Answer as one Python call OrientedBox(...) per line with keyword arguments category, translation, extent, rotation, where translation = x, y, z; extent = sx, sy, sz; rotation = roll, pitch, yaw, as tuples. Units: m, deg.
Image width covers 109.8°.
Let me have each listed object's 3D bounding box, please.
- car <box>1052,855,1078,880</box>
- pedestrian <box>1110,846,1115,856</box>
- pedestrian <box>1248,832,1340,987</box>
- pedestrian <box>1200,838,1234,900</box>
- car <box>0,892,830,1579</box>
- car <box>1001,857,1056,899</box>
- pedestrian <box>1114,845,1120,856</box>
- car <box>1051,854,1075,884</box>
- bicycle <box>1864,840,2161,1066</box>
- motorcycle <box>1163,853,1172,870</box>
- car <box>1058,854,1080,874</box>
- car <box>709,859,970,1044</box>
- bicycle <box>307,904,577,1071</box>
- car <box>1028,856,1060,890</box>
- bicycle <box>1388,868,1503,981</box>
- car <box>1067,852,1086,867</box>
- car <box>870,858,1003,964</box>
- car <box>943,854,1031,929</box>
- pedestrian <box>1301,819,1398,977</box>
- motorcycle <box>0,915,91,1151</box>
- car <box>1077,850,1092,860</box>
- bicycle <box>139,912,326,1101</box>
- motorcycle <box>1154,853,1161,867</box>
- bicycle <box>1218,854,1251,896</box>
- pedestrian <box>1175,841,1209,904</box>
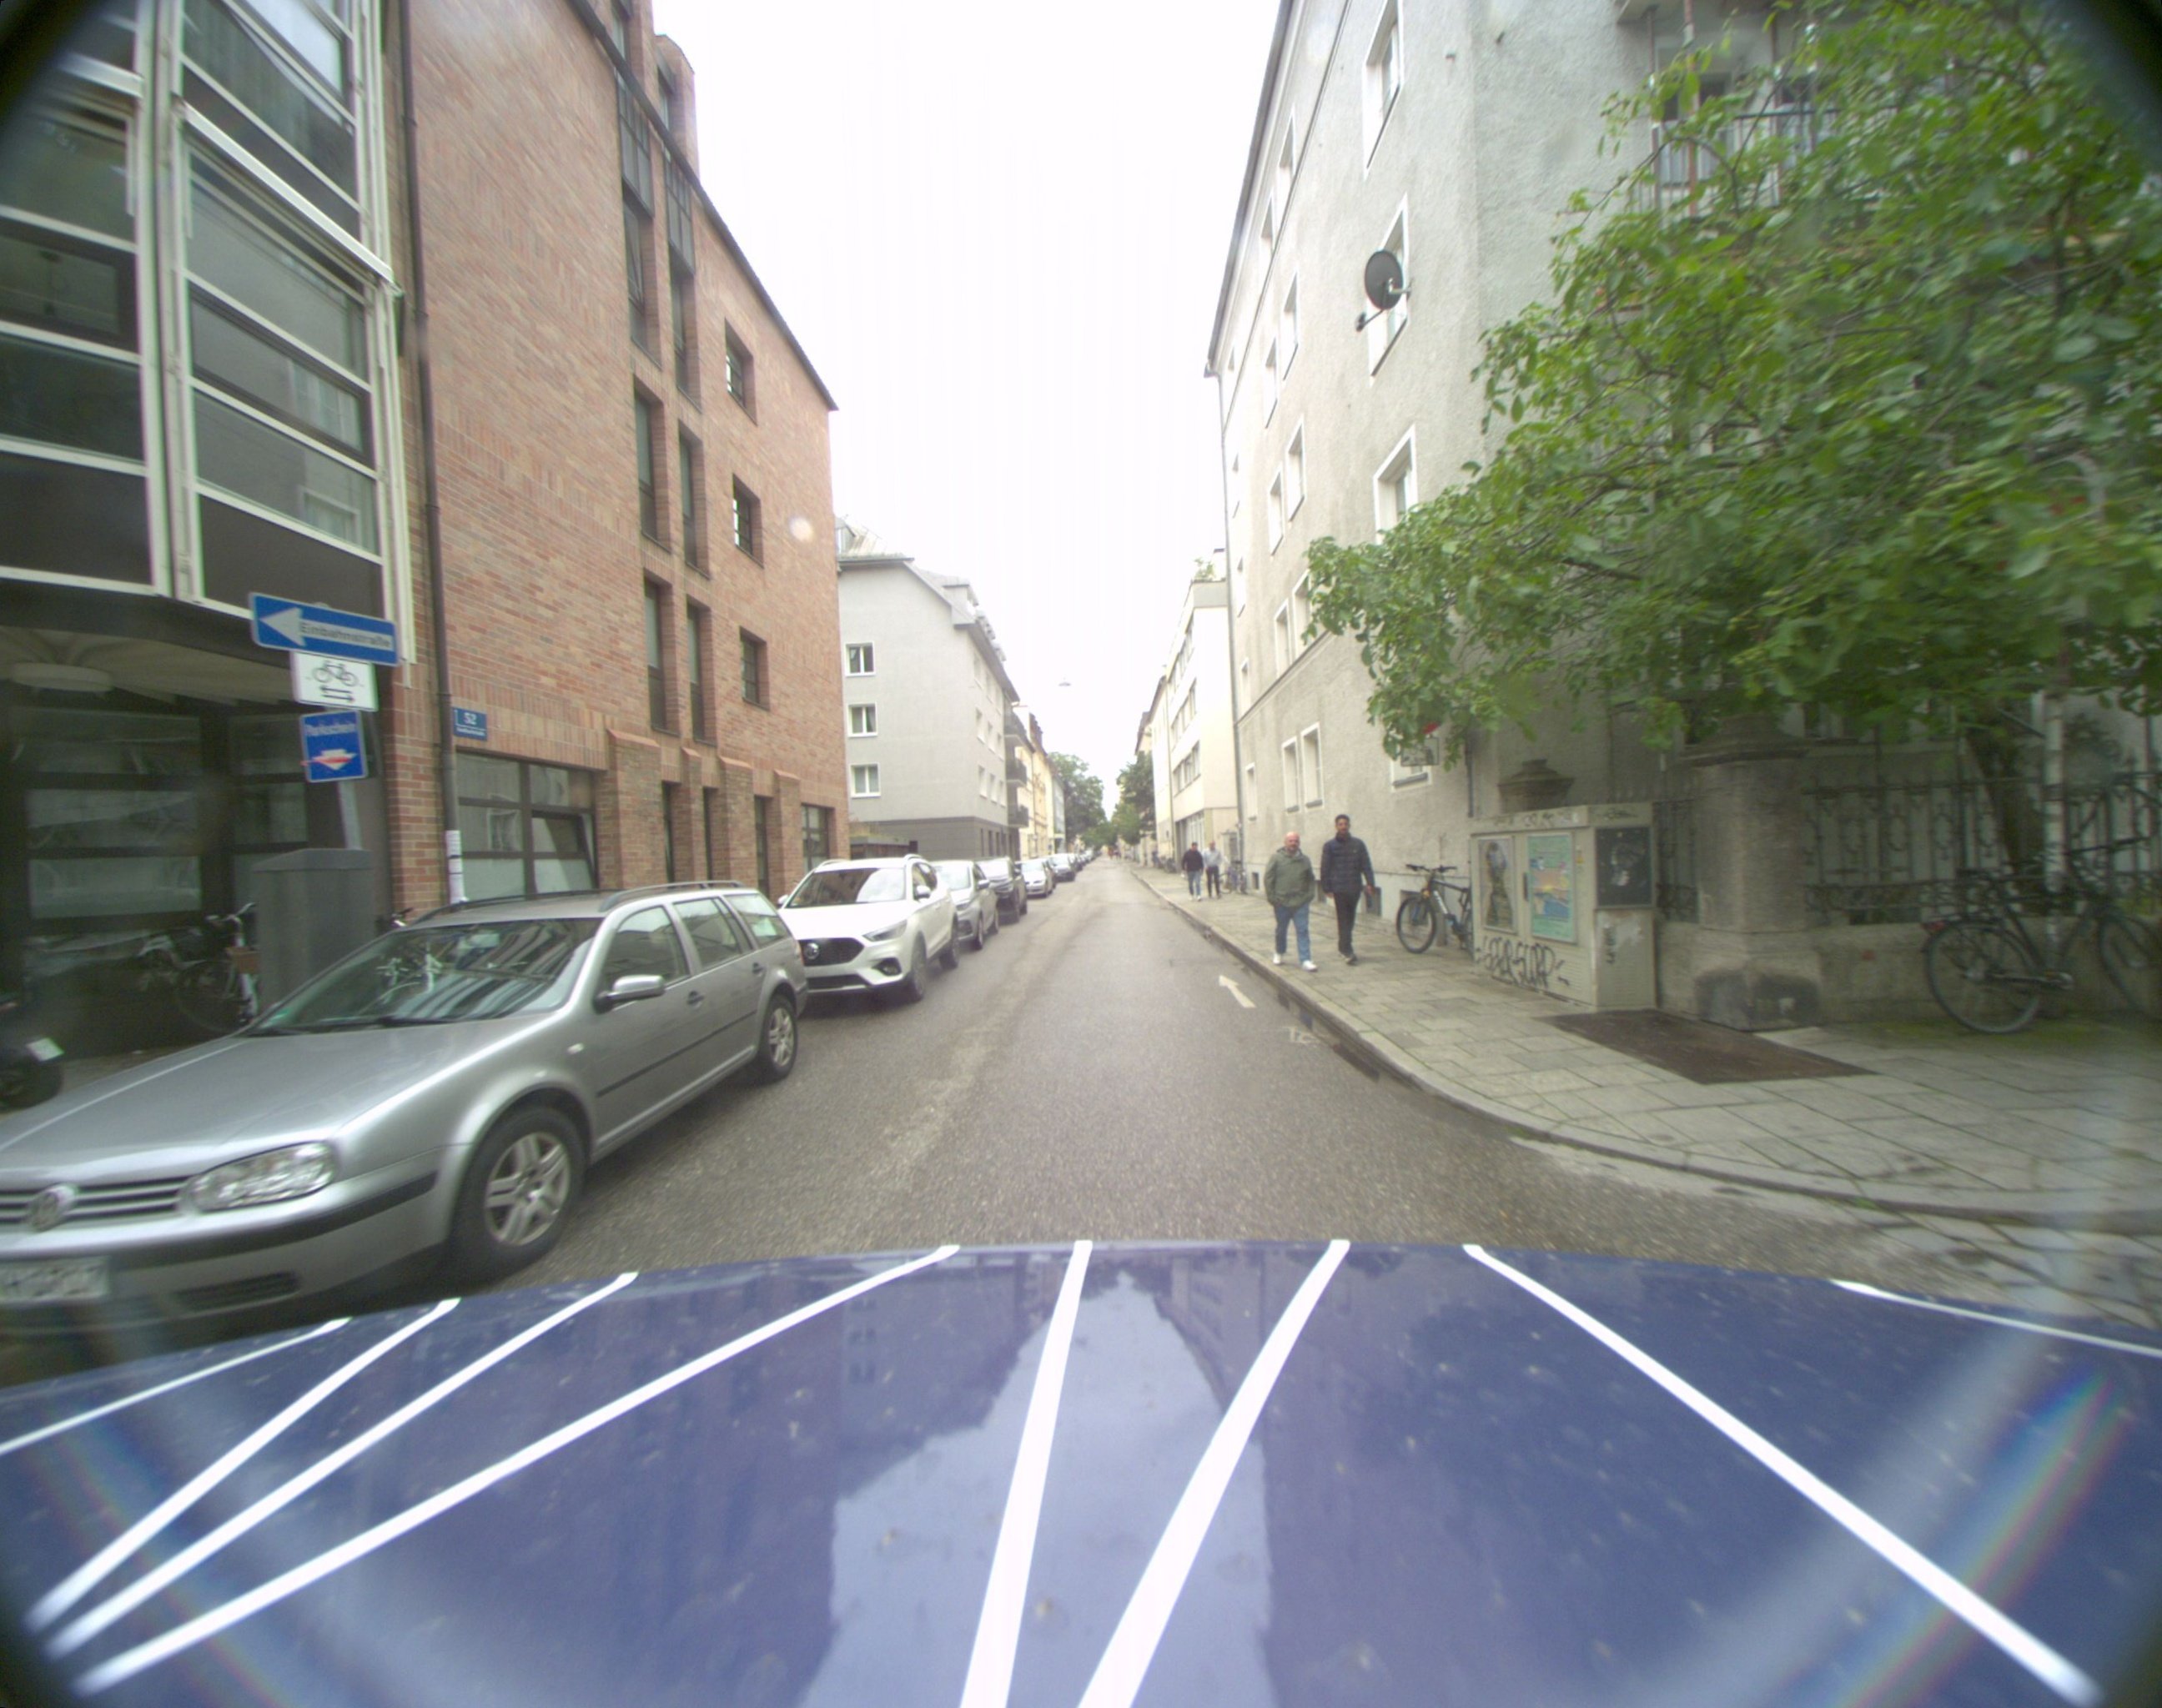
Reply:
OrientedBox(category="car", translation=(-0.894, 0.752, 43.525), extent=(1.190, 1.312, 2.780), rotation=(-4, 1, 2))
OrientedBox(category="pedestrian", translation=(5.855, -0.486, 140.758), extent=(0.696, 1.834, 0.692), rotation=(-3, 1, 20))
OrientedBox(category="pedestrian", translation=(2.449, 0.611, 8.830), extent=(0.691, 1.668, 0.859), rotation=(-5, 1, 0))
OrientedBox(category="pedestrian", translation=(3.948, 0.433, 22.123), extent=(0.695, 1.718, 0.841), rotation=(-7, 1, 2))
OrientedBox(category="car", translation=(-2.986, 1.093, 4.059), extent=(1.725, 1.427, 4.358), rotation=(-4, 0, 0))
OrientedBox(category="car", translation=(-1.935, 0.868, 29.187), extent=(1.619, 1.369, 3.817), rotation=(-4, 1, 2))
OrientedBox(category="pedestrian", translation=(6.697, -0.612, 141.473), extent=(0.861, 2.002, 0.787), rotation=(-3, 1, 16))
OrientedBox(category="car", translation=(-0.908, 0.739, 39.636), extent=(1.043, 1.429, 2.251), rotation=(-4, 1, 2))
OrientedBox(category="bicycle", translation=(5.947, 0.578, 4.654), extent=(1.811, 1.254, 0.432), rotation=(-3, 1, 1))
OrientedBox(category="motorcycle", translation=(5.262, 0.452, 46.313), extent=(0.324, 0.968, 1.961), rotation=(-4, 1, 2))
OrientedBox(category="car", translation=(-0.837, 0.720, 54.328), extent=(1.351, 1.259, 3.037), rotation=(-4, 1, 2))
OrientedBox(category="car", translation=(-2.649, 0.959, 9.547), extent=(1.725, 1.606, 4.454), rotation=(-4, 1, 0))
OrientedBox(category="bicycle", translation=(-5.887, 1.161, 7.163), extent=(0.741, 1.210, 1.782), rotation=(-2, 1, 16))
OrientedBox(category="car", translation=(-1.658, 0.836, 34.486), extent=(1.154, 1.367, 2.685), rotation=(-4, 1, 2))
OrientedBox(category="bicycle", translation=(4.078, 0.743, 8.639), extent=(0.432, 1.089, 1.703), rotation=(-4, 1, 0))
OrientedBox(category="car", translation=(-0.406, 0.475, 68.585), extent=(1.525, 1.259, 3.210), rotation=(-4, 1, 2))
OrientedBox(category="car", translation=(-2.500, 0.922, 14.047), extent=(1.619, 1.549, 3.807), rotation=(-4, 1, 0))
OrientedBox(category="car", translation=(-2.266, 0.862, 19.317), extent=(1.619, 1.570, 4.051), rotation=(-4, 1, 0))
OrientedBox(category="pedestrian", translation=(3.192, 0.502, 9.082), extent=(0.692, 1.753, 0.741), rotation=(-5, 1, -8))
OrientedBox(category="motorcycle", translation=(-7.362, 1.102, 4.640), extent=(1.765, 1.376, 0.552), rotation=(-1, 1, -3))
OrientedBox(category="car", translation=(0.503, 0.156, 107.762), extent=(1.998, 1.259, 4.000), rotation=(-4, 0, 2))
OrientedBox(category="bicycle", translation=(-6.755, 1.118, 6.023), extent=(1.872, 1.222, 0.594), rotation=(-1, 2, 31))
OrientedBox(category="motorcycle", translation=(5.612, 0.423, 55.904), extent=(0.324, 0.968, 1.961), rotation=(-4, 1, 2))
OrientedBox(category="bicycle", translation=(4.599, 0.604, 22.890), extent=(0.450, 1.187, 1.498), rotation=(-4, 1, -7))
OrientedBox(category="pedestrian", translation=(3.226, 0.518, 22.094), extent=(0.721, 1.718, 0.841), rotation=(-7, 1, 2))
